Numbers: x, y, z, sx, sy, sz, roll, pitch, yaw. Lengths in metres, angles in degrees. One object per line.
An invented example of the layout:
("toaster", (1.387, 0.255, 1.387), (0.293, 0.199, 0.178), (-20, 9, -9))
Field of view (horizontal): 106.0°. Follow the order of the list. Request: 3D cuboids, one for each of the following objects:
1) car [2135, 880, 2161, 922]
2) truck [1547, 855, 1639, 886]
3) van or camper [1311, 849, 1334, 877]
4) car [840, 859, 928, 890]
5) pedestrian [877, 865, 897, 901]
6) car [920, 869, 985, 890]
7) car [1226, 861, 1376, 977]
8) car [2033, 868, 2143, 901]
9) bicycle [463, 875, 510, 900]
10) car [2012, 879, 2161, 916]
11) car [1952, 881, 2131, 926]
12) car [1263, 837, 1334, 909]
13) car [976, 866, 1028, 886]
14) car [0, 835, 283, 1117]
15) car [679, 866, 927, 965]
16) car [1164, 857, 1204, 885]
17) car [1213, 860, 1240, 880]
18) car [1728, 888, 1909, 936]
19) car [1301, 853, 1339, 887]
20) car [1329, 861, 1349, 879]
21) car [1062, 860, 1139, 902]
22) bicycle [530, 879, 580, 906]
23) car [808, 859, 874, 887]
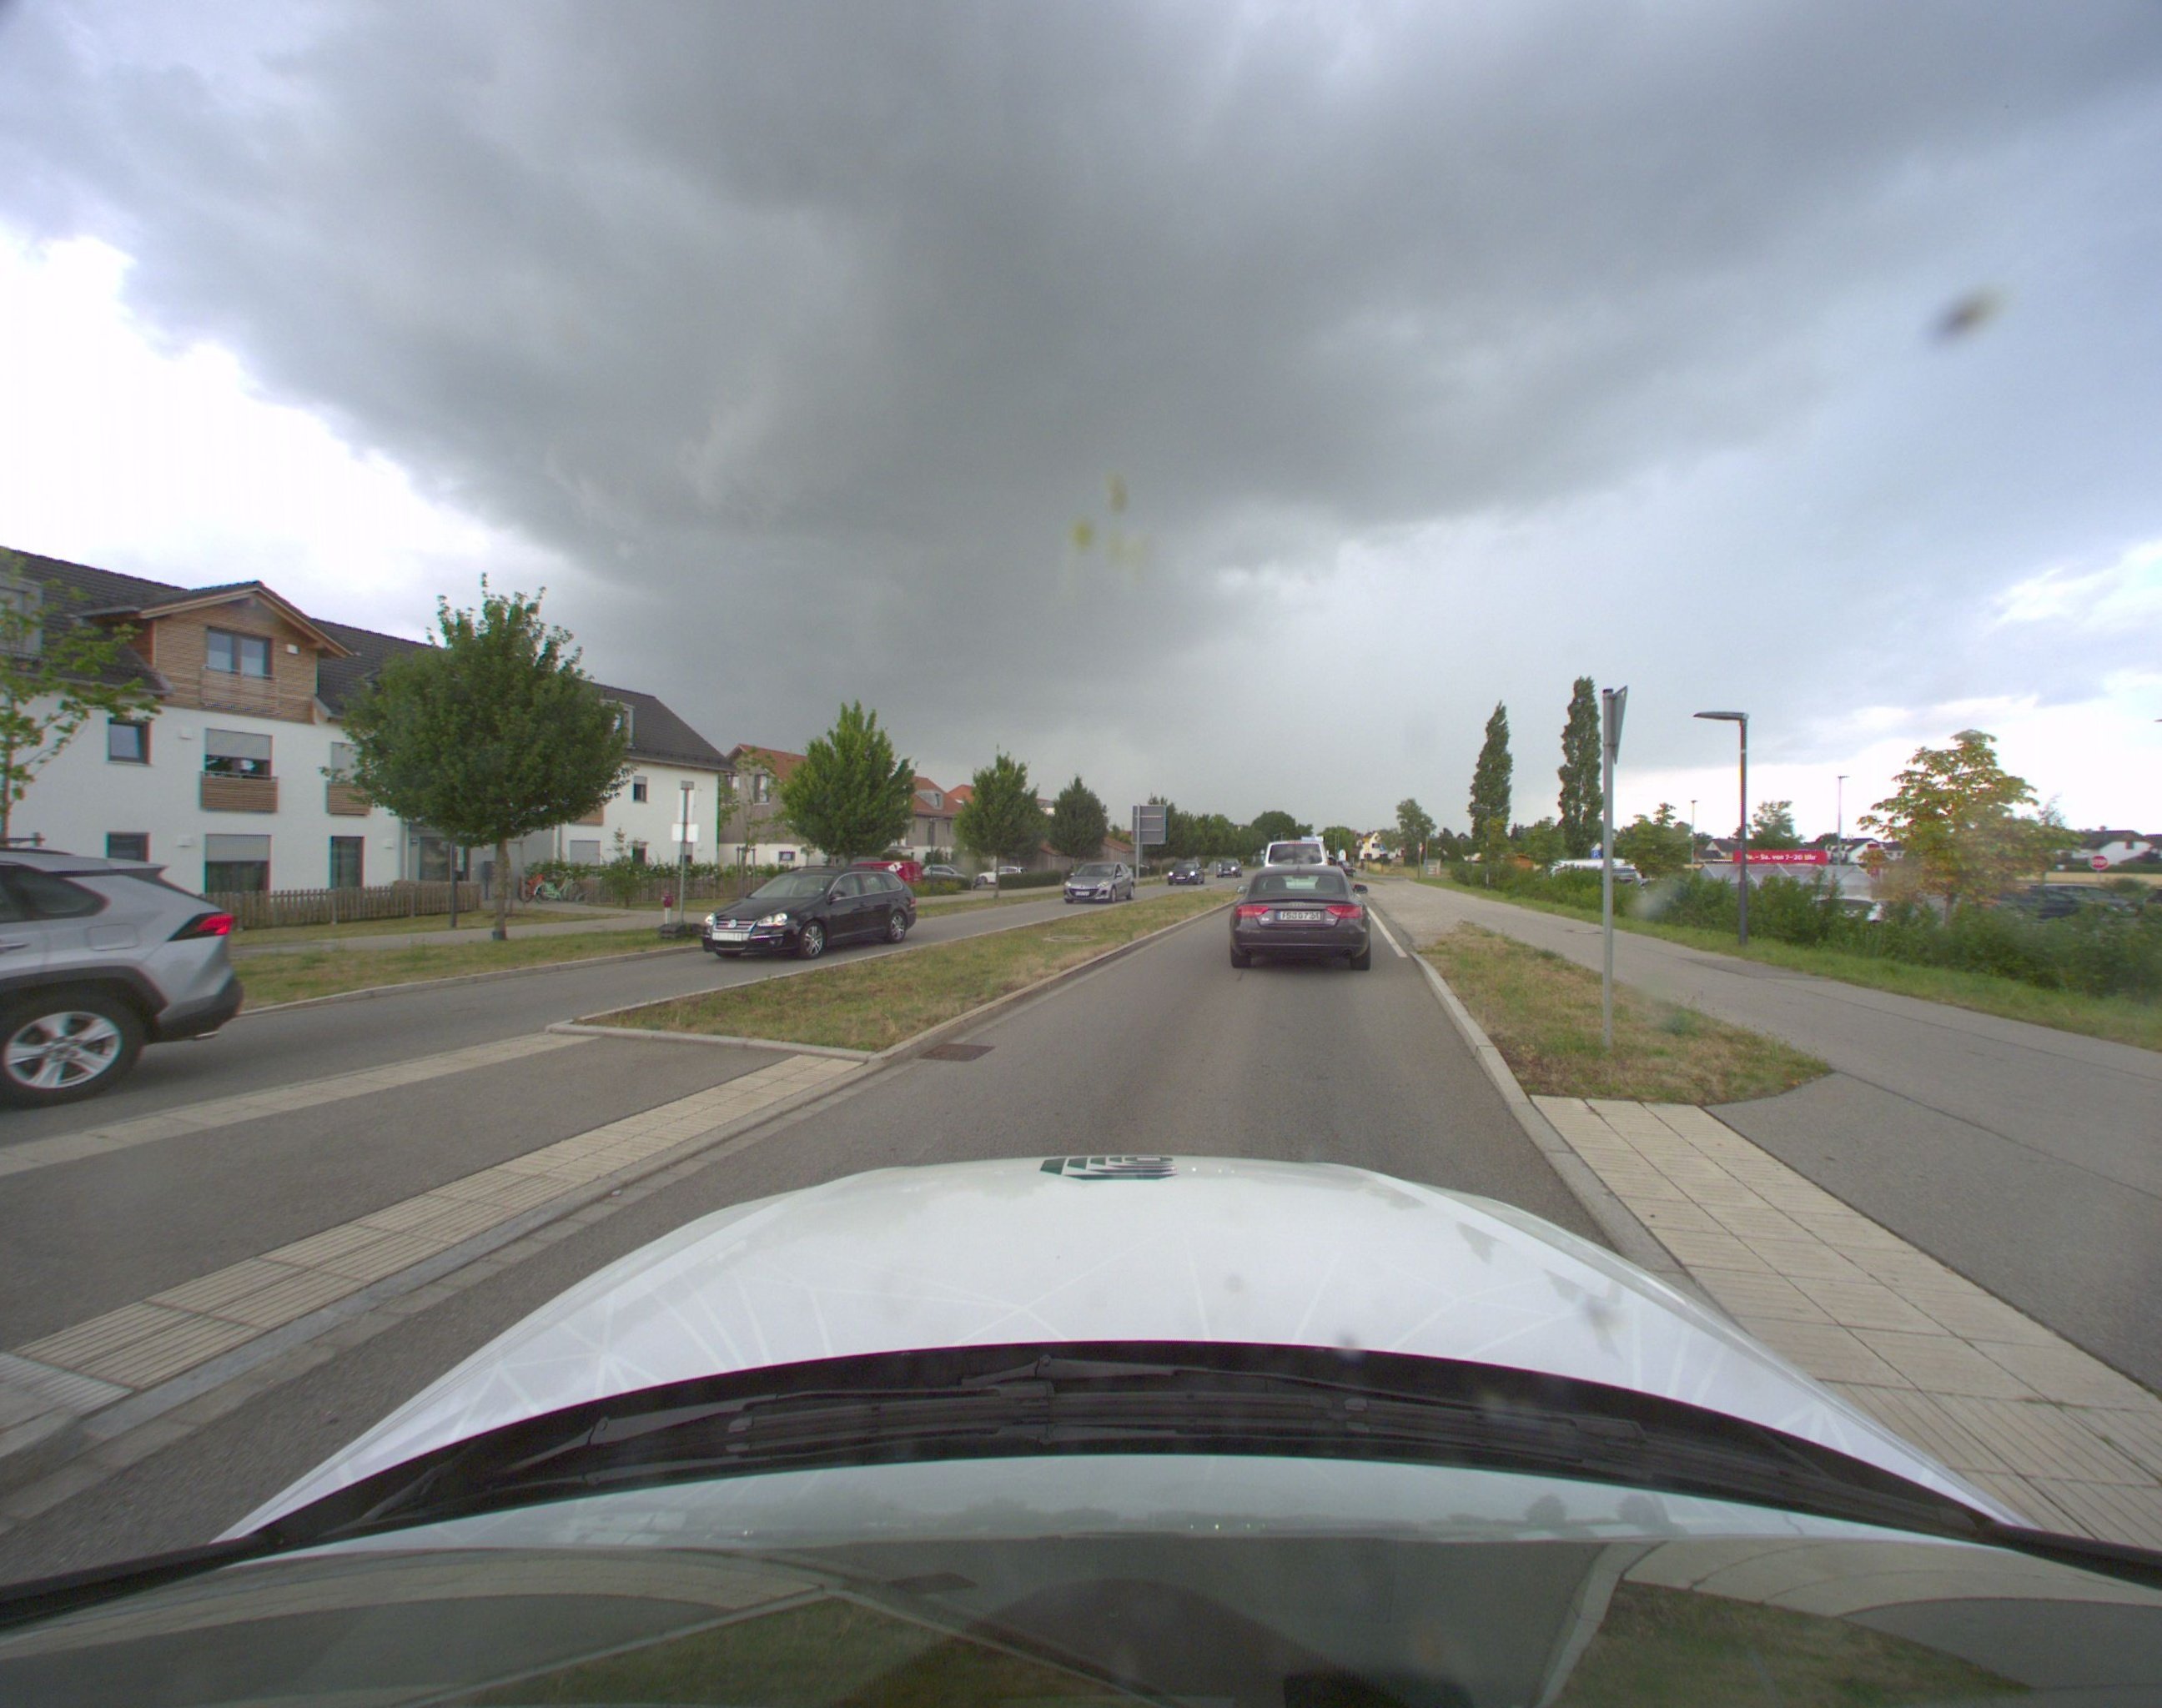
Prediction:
("car", (45.783, 1.952, 32.718), (3.956, 1.706, 1.723), (1, -1, 16))
("truck", (33.735, 1.087, 53.802), (4.764, 1.872, 2.007), (1, -1, 12))
("van or camper", (29.754, 1.181, 100.482), (2.605, 3.324, 6.850), (1, -1, 16))
("car", (-11.234, 1.134, 46.461), (4.492, 1.680, 2.010), (1, -1, 20))
("pedestrian", (-8.561, 1.274, 35.953), (0.577, 1.559, 0.662), (0, 0, 15))
("car", (-8.602, 1.706, 54.605), (3.886, 1.315, 1.850), (1, 0, 14))
("car", (3.223, 0.804, 12.015), (1.771, 1.391, 4.149), (0, -1, 15))
("car", (64.841, 1.933, 52.549), (3.954, 1.837, 2.010), (3, 0, 20))
("bicycle", (-21.223, 1.182, 29.090), (0.364, 0.843, 1.344), (3, 0, 19))
("car", (47.460, 2.021, 38.466), (4.278, 1.578, 1.776), (1, 0, 18))
("car", (40.086, 2.025, 34.131), (4.521, 1.664, 2.009), (0, 0, 17))
("car", (6.398, 0.523, 24.003), (1.853, 1.934, 4.016), (1, -1, 15))
("car", (-6.167, 1.693, 63.901), (3.703, 1.482, 1.693), (1, 0, 13))
("car", (-7.823, 0.743, 4.348), (1.976, 1.704, 4.659), (-1, -1, 22))
("car", (-4.565, 0.949, 14.195), (1.739, 1.416, 4.475), (-2, -1, 18))
("car", (6.305, 1.018, 49.611), (1.853, 1.574, 4.016), (-1, -1, 15))
("car", (12.327, 1.308, 68.635), (1.853, 1.574, 4.016), (1, 0, 15))
("car", (25.415, 1.959, 28.253), (4.200, 1.440, 2.009), (0, -1, 17))
("car", (12.427, 0.810, 42.263), (1.762, 1.618, 4.018), (1, 0, 18))
("car", (20.172, 1.233, 63.729), (1.427, 1.372, 3.528), (1, -1, 17))
("car", (0.807, 0.954, 29.930), (1.716, 1.410, 4.224), (-1, -1, 17))
("bicycle", (-18.392, 1.337, 28.511), (0.364, 0.843, 1.554), (3, 0, 19))
("car", (-16.331, 1.284, 55.644), (1.976, 1.772, 4.489), (0, -1, 22))
